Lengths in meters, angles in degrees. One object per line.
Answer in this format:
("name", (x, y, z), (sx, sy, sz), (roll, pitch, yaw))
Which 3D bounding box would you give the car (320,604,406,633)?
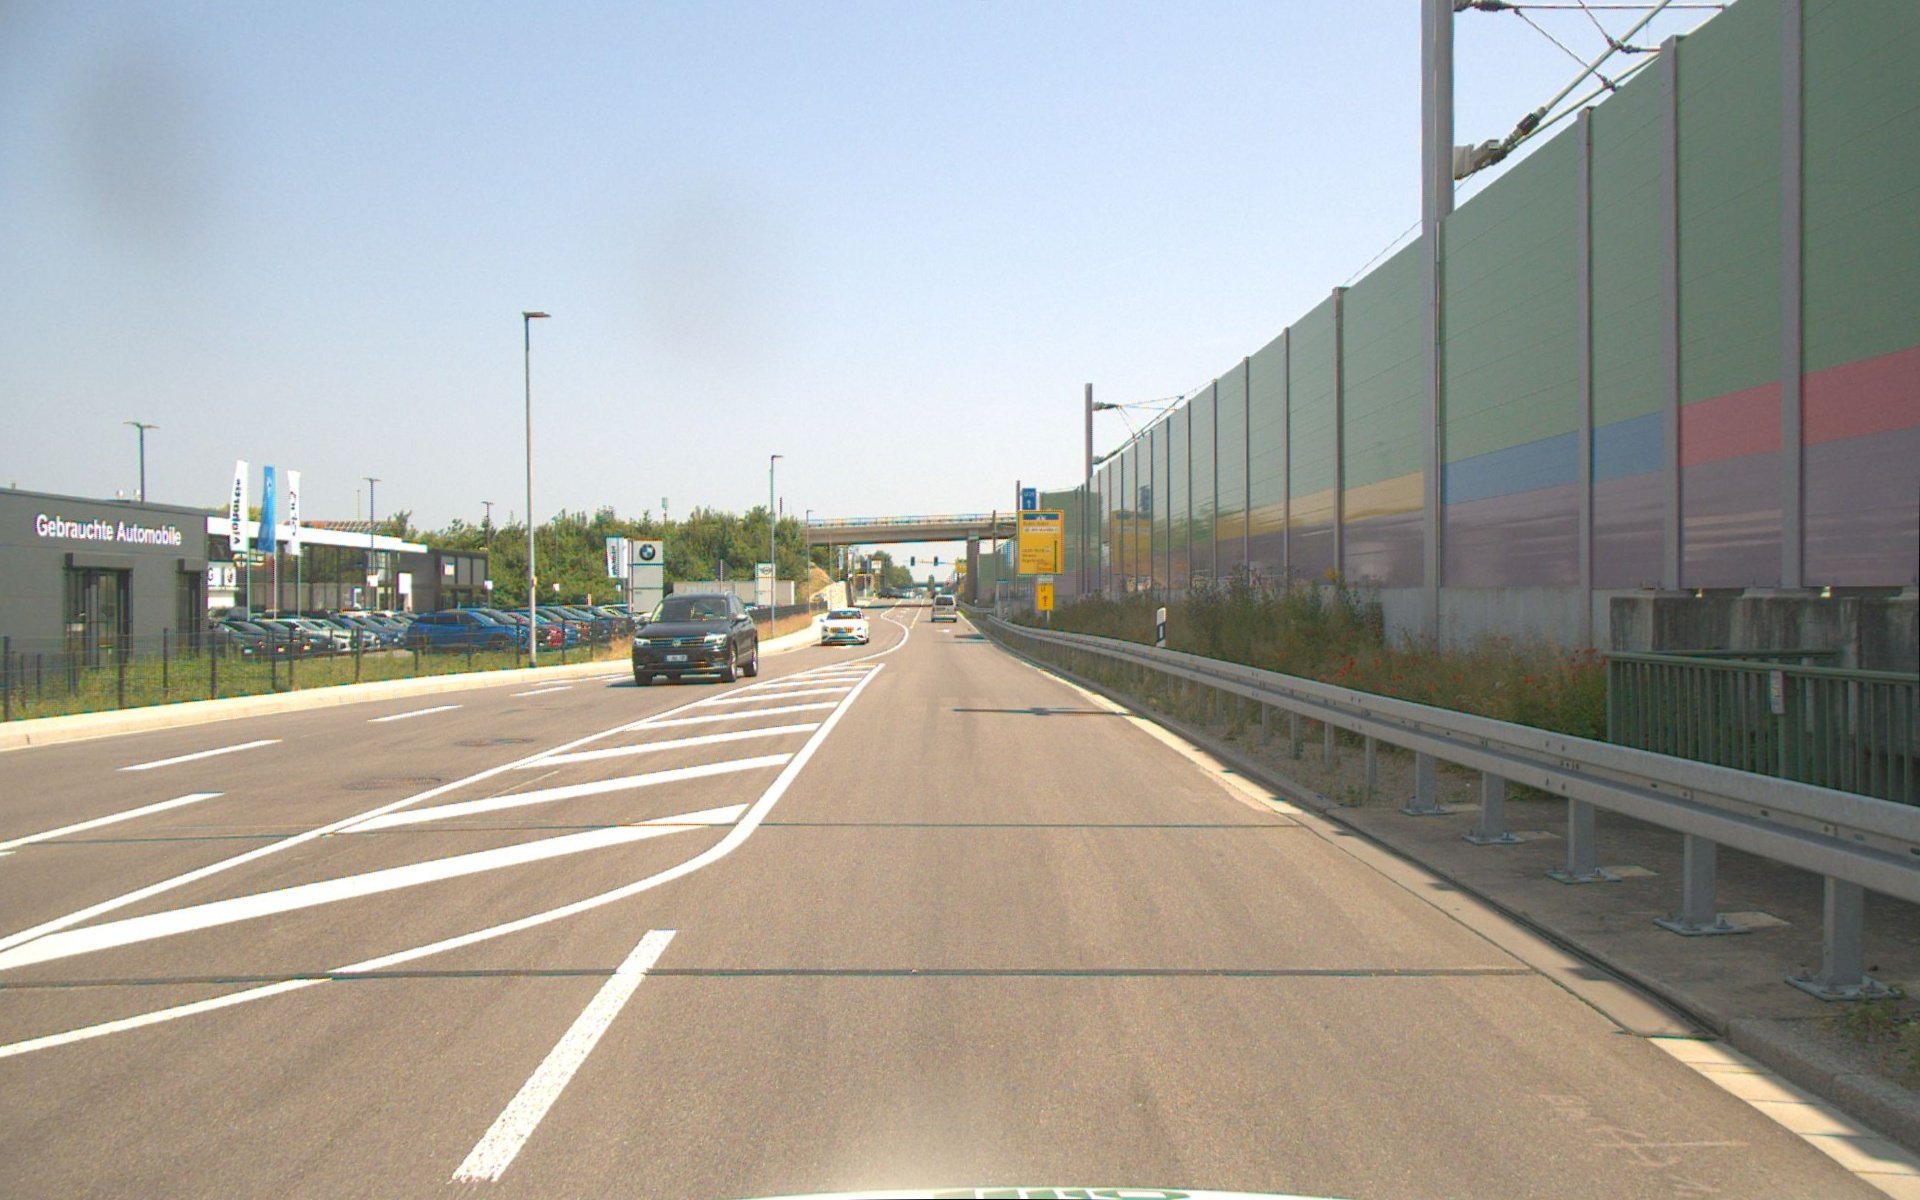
("car", (-32.892, 1.001, 91.202), (4.079, 1.492, 1.815), (-1, 1, -1))

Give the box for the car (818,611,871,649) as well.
("car", (-4.588, 1.177, 66.119), (1.744, 1.440, 4.050), (-1, 0, 1))

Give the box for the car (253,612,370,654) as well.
("car", (-25.752, 1.299, 65.799), (3.907, 1.520, 1.814), (-1, 1, -3))

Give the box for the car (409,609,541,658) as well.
("car", (-16.393, 1.117, 56.097), (3.907, 1.506, 1.910), (-1, 1, -3))

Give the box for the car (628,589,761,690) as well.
("car", (-4.917, 0.673, 31.192), (1.839, 1.702, 4.290), (-1, 1, -1))

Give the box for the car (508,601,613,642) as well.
("car", (-16.565, 0.867, 68.664), (3.907, 1.561, 1.814), (-1, 1, -3))

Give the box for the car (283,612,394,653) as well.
("car", (-25.830, 1.339, 68.852), (3.907, 1.520, 1.814), (-1, 1, -3))

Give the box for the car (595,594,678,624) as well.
("car", (-17.440, 0.471, 89.206), (4.079, 1.492, 1.815), (-1, 1, -1))

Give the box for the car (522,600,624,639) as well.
("car", (-16.611, 0.819, 71.095), (3.907, 1.561, 1.971), (-1, 1, -3))

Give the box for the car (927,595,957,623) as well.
("car", (-1.209, 0.576, 112.116), (1.952, 1.788, 4.001), (0, 1, 1))
